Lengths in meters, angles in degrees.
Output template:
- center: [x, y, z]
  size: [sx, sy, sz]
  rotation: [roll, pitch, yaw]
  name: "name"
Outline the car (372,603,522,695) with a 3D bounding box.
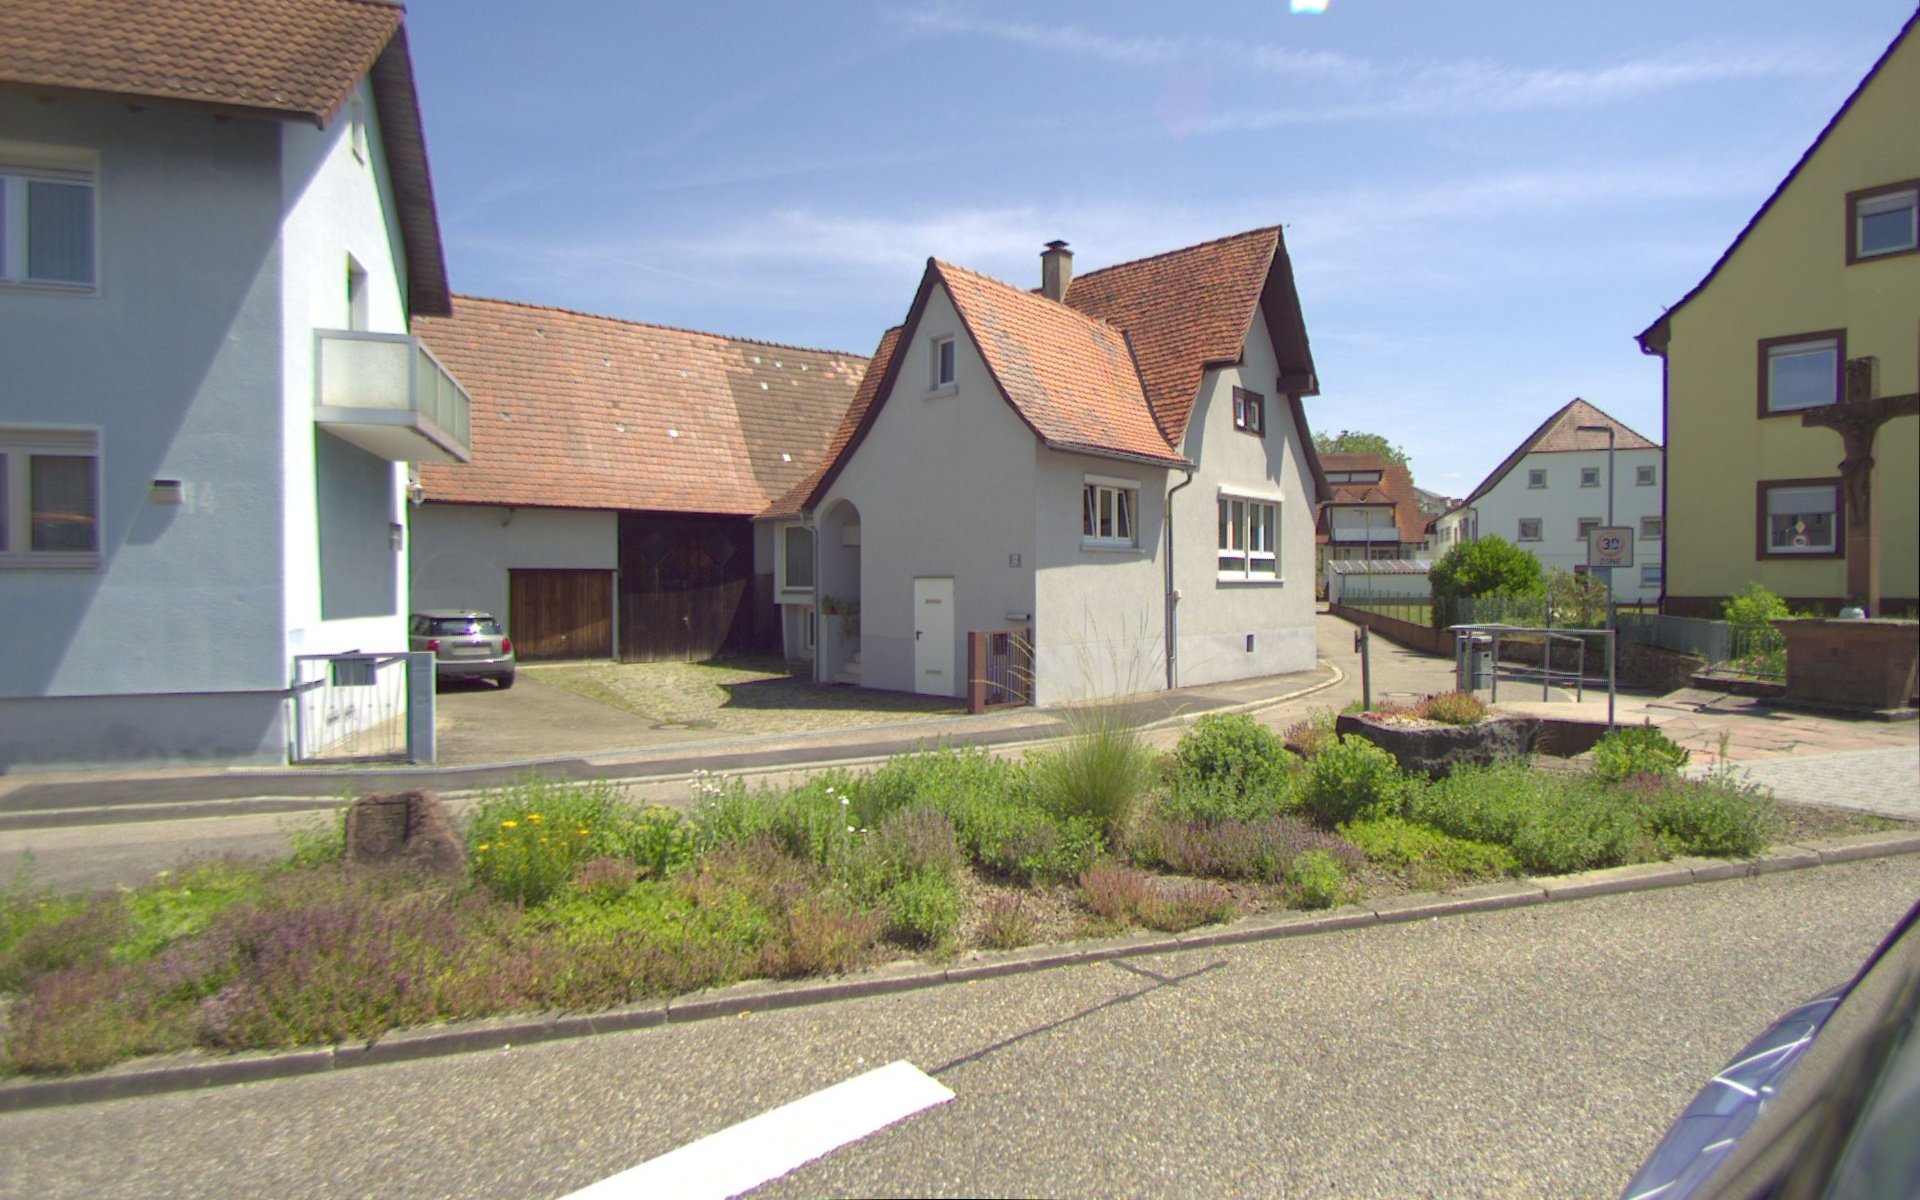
- center: [-10.020, 0.861, 19.647]
  size: [1.783, 1.471, 3.731]
  rotation: [-1, 2, -40]
  name: "car"
